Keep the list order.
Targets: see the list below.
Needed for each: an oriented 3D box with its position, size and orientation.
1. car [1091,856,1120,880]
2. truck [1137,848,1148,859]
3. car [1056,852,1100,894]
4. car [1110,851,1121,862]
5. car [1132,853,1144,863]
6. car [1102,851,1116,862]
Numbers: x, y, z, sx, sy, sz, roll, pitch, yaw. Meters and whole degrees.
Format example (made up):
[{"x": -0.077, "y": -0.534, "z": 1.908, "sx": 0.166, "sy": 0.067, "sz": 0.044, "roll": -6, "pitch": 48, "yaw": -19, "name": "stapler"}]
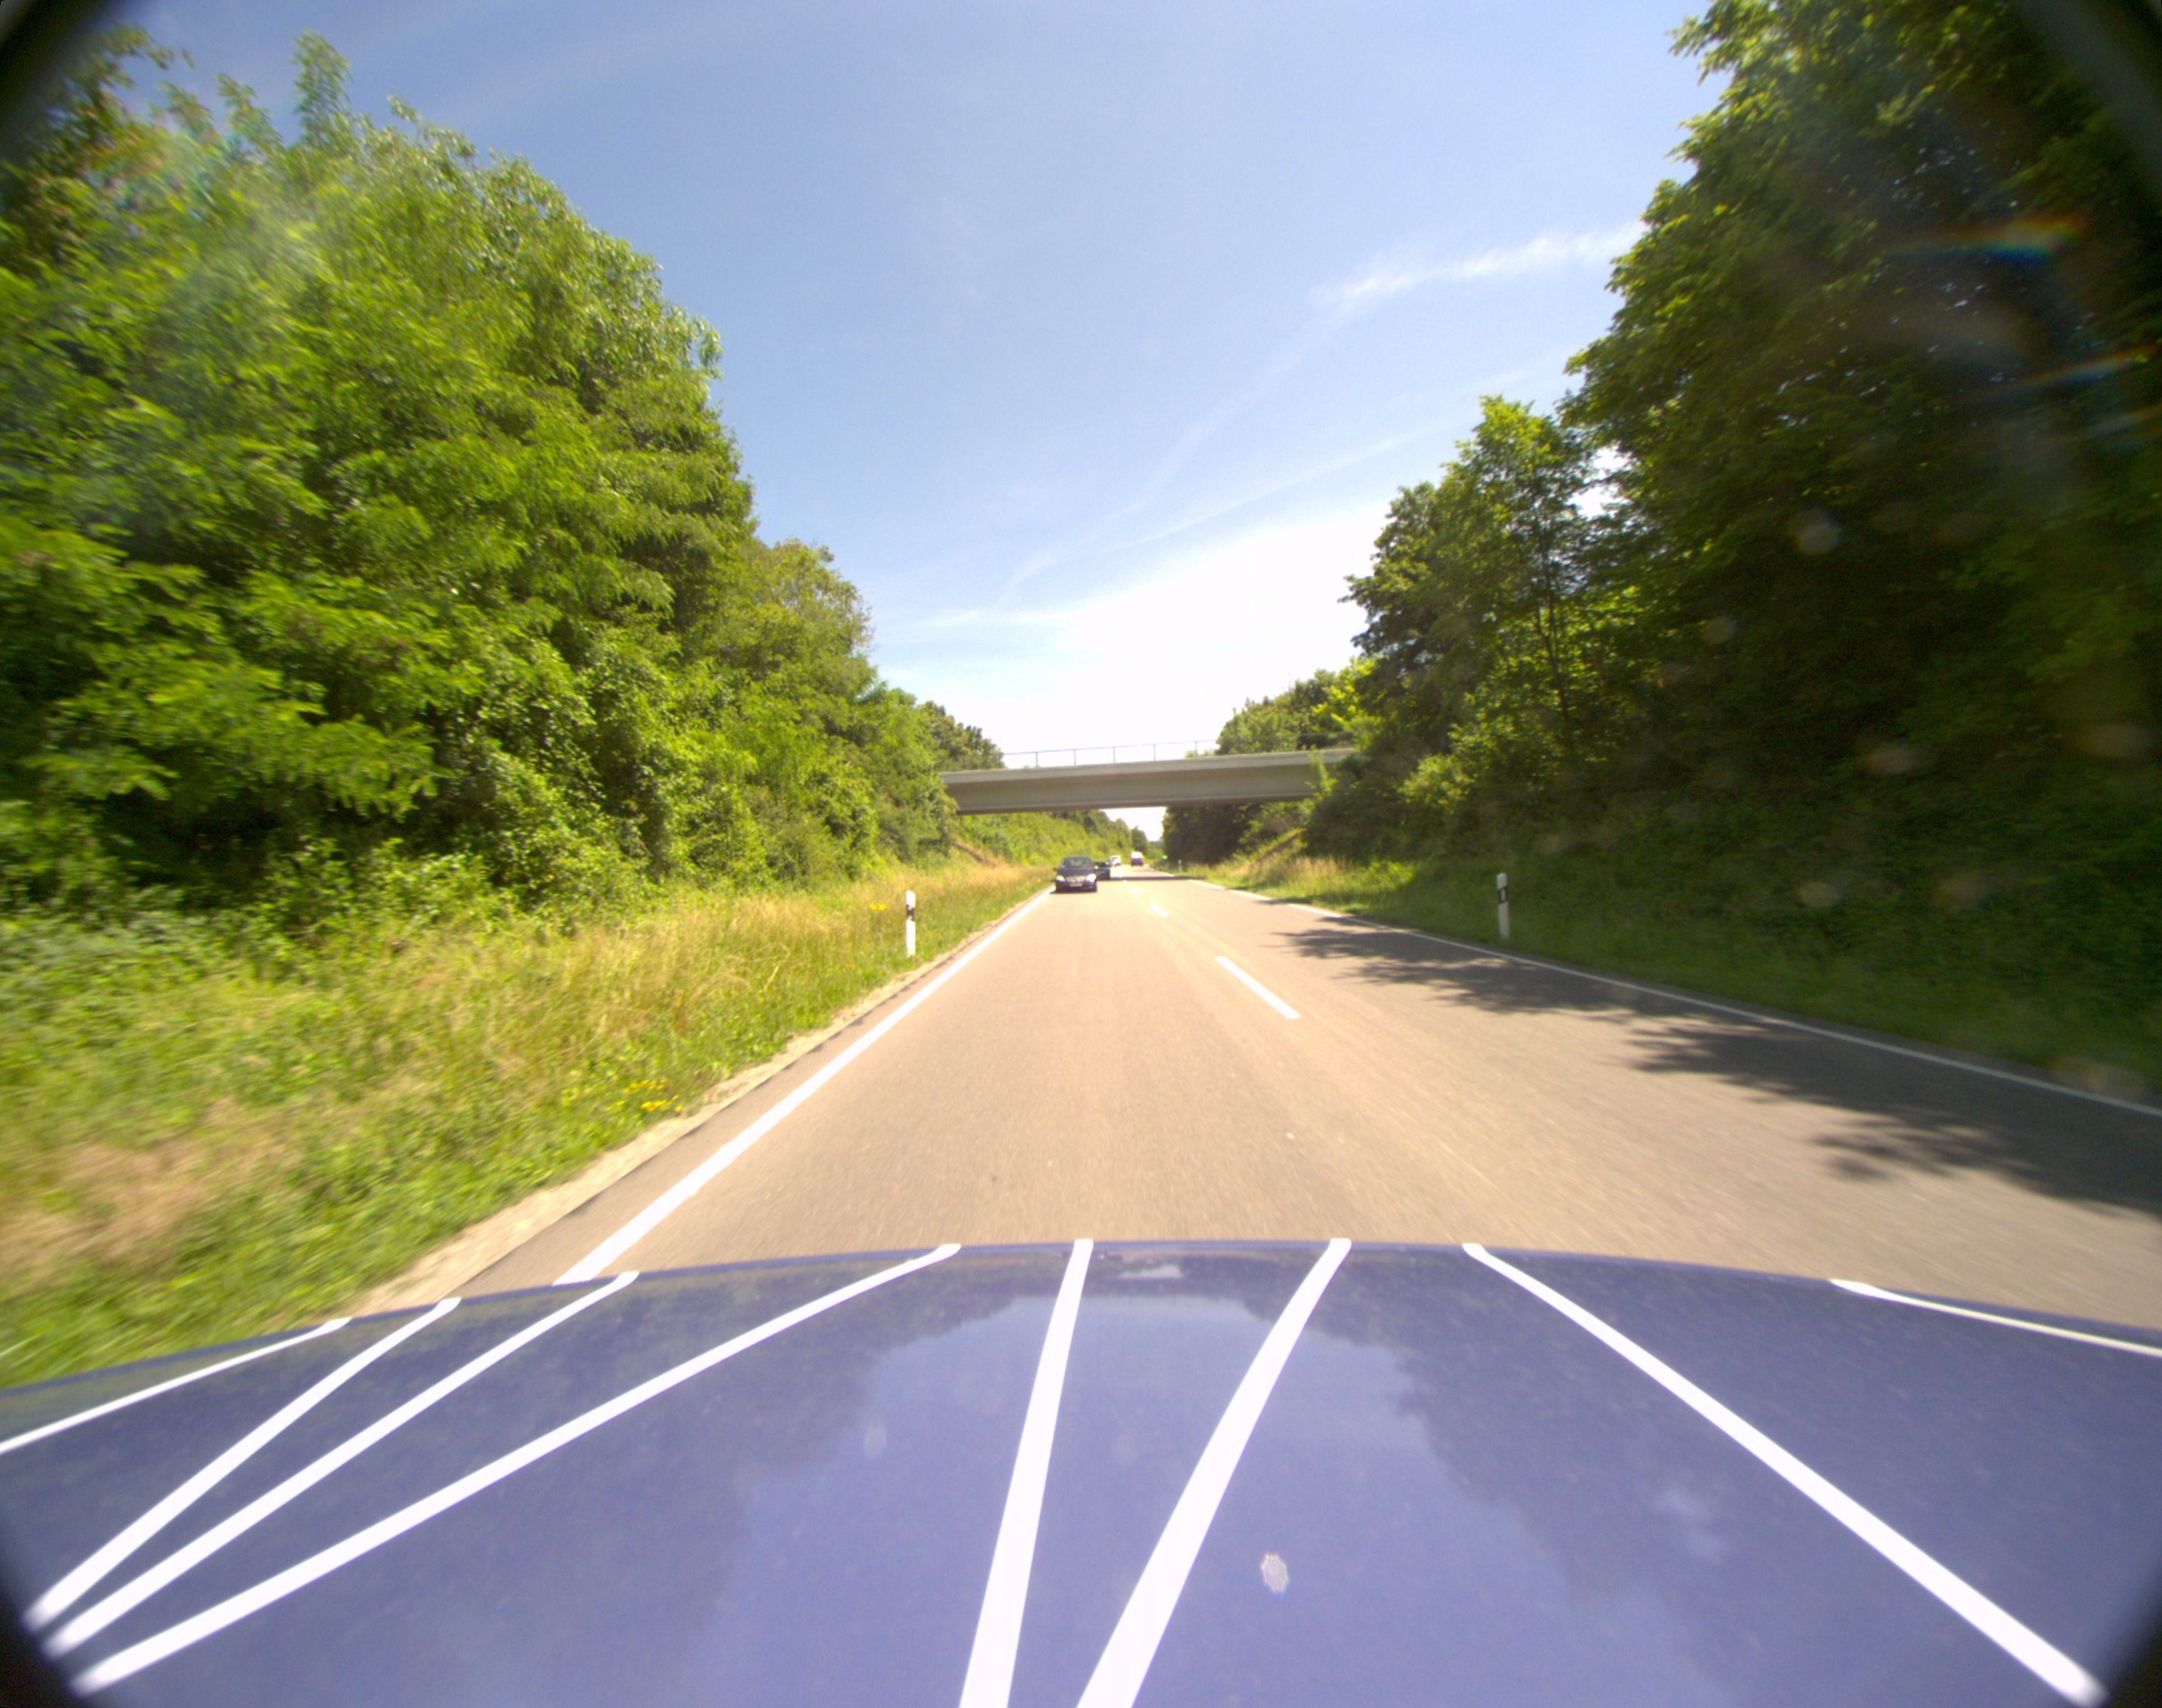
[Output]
[{"x": 1.579, "y": 0.871, "z": 48.816, "sx": 1.709, "sy": 1.444, "sz": 5.416, "roll": -1, "pitch": 0, "yaw": 2, "name": "car"}, {"x": 19.200, "y": -0.222, "z": 235.665, "sx": 2.576, "sy": 3.111, "sz": 11.203, "roll": -4, "pitch": 1, "yaw": 7, "name": "truck"}, {"x": -0.060, "y": 0.799, "z": 33.784, "sx": 1.783, "sy": 1.676, "sz": 4.779, "roll": -1, "pitch": 0, "yaw": 1, "name": "car"}, {"x": 6.563, "y": 0.490, "z": 143.846, "sx": 1.998, "sy": 2.002, "sz": 4.001, "roll": -2, "pitch": 0, "yaw": 3, "name": "car"}, {"x": 9.234, "y": 0.675, "z": 123.414, "sx": 1.863, "sy": 1.497, "sz": 4.587, "roll": -1, "pitch": 0, "yaw": 2, "name": "car"}, {"x": 4.460, "y": 0.395, "z": 122.693, "sx": 2.045, "sy": 1.743, "sz": 4.166, "roll": -2, "pitch": 0, "yaw": 0, "name": "car"}]
